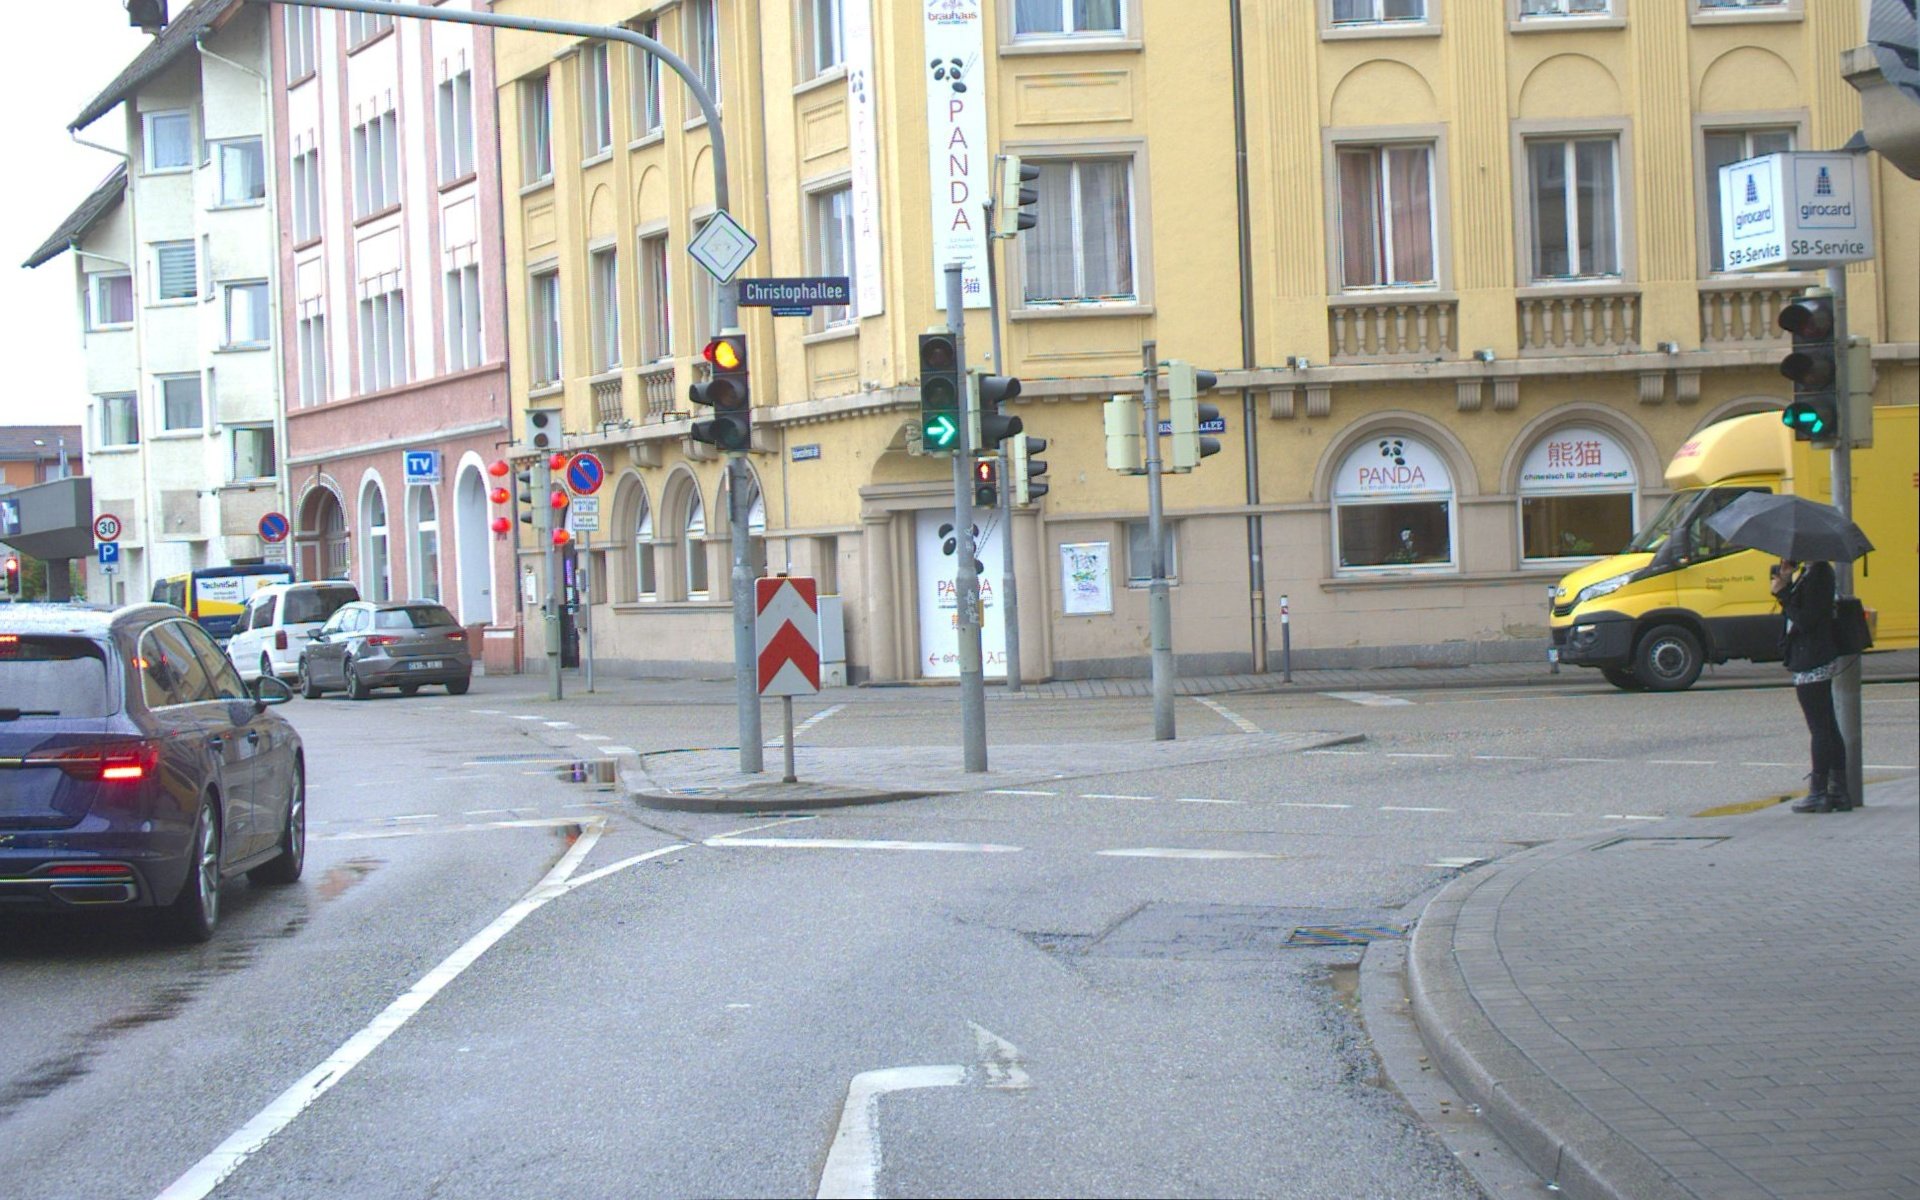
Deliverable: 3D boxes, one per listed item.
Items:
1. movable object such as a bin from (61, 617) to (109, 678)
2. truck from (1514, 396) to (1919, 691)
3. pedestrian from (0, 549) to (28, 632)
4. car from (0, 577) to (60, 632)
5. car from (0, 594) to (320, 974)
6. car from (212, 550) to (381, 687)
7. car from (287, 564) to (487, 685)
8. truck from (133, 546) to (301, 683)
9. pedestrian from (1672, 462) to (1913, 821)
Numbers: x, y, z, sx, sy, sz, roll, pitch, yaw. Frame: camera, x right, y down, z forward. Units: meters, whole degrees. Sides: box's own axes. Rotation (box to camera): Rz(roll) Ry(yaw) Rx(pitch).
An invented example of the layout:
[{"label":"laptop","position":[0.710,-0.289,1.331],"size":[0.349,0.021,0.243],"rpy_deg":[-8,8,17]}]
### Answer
[{"label":"movable object such as a bin","position":[-18.257,0.986,71.738],"size":[0.748,1.227,0.984],"rpy_deg":[3,-1,-25]},{"label":"truck","position":[9.510,-0.630,35.615],"size":[7.091,2.841,2.083],"rpy_deg":[-2,0,-1]},{"label":"pedestrian","position":[-22.466,-0.226,81.104],"size":[0.722,1.930,0.793],"rpy_deg":[-2,0,-27]},{"label":"car","position":[-35.730,0.165,127.639],"size":[3.987,2.007,2.000],"rpy_deg":[0,0,-36]},{"label":"car","position":[-4.034,0.710,15.150],"size":[1.803,1.401,4.684],"rpy_deg":[-1,0,-4]},{"label":"car","position":[-11.108,0.286,57.393],"size":[1.761,2.173,4.001],"rpy_deg":[-1,1,-26]},{"label":"car","position":[-8.565,0.320,51.139],"size":[1.878,1.631,4.001],"rpy_deg":[-3,2,-25]},{"label":"truck","position":[-13.628,0.243,62.856],"size":[2.026,2.381,4.237],"rpy_deg":[-1,1,-26]},{"label":"pedestrian","position":[4.566,0.220,18.816],"size":[1.058,1.897,1.024],"rpy_deg":[-2,1,24]}]
